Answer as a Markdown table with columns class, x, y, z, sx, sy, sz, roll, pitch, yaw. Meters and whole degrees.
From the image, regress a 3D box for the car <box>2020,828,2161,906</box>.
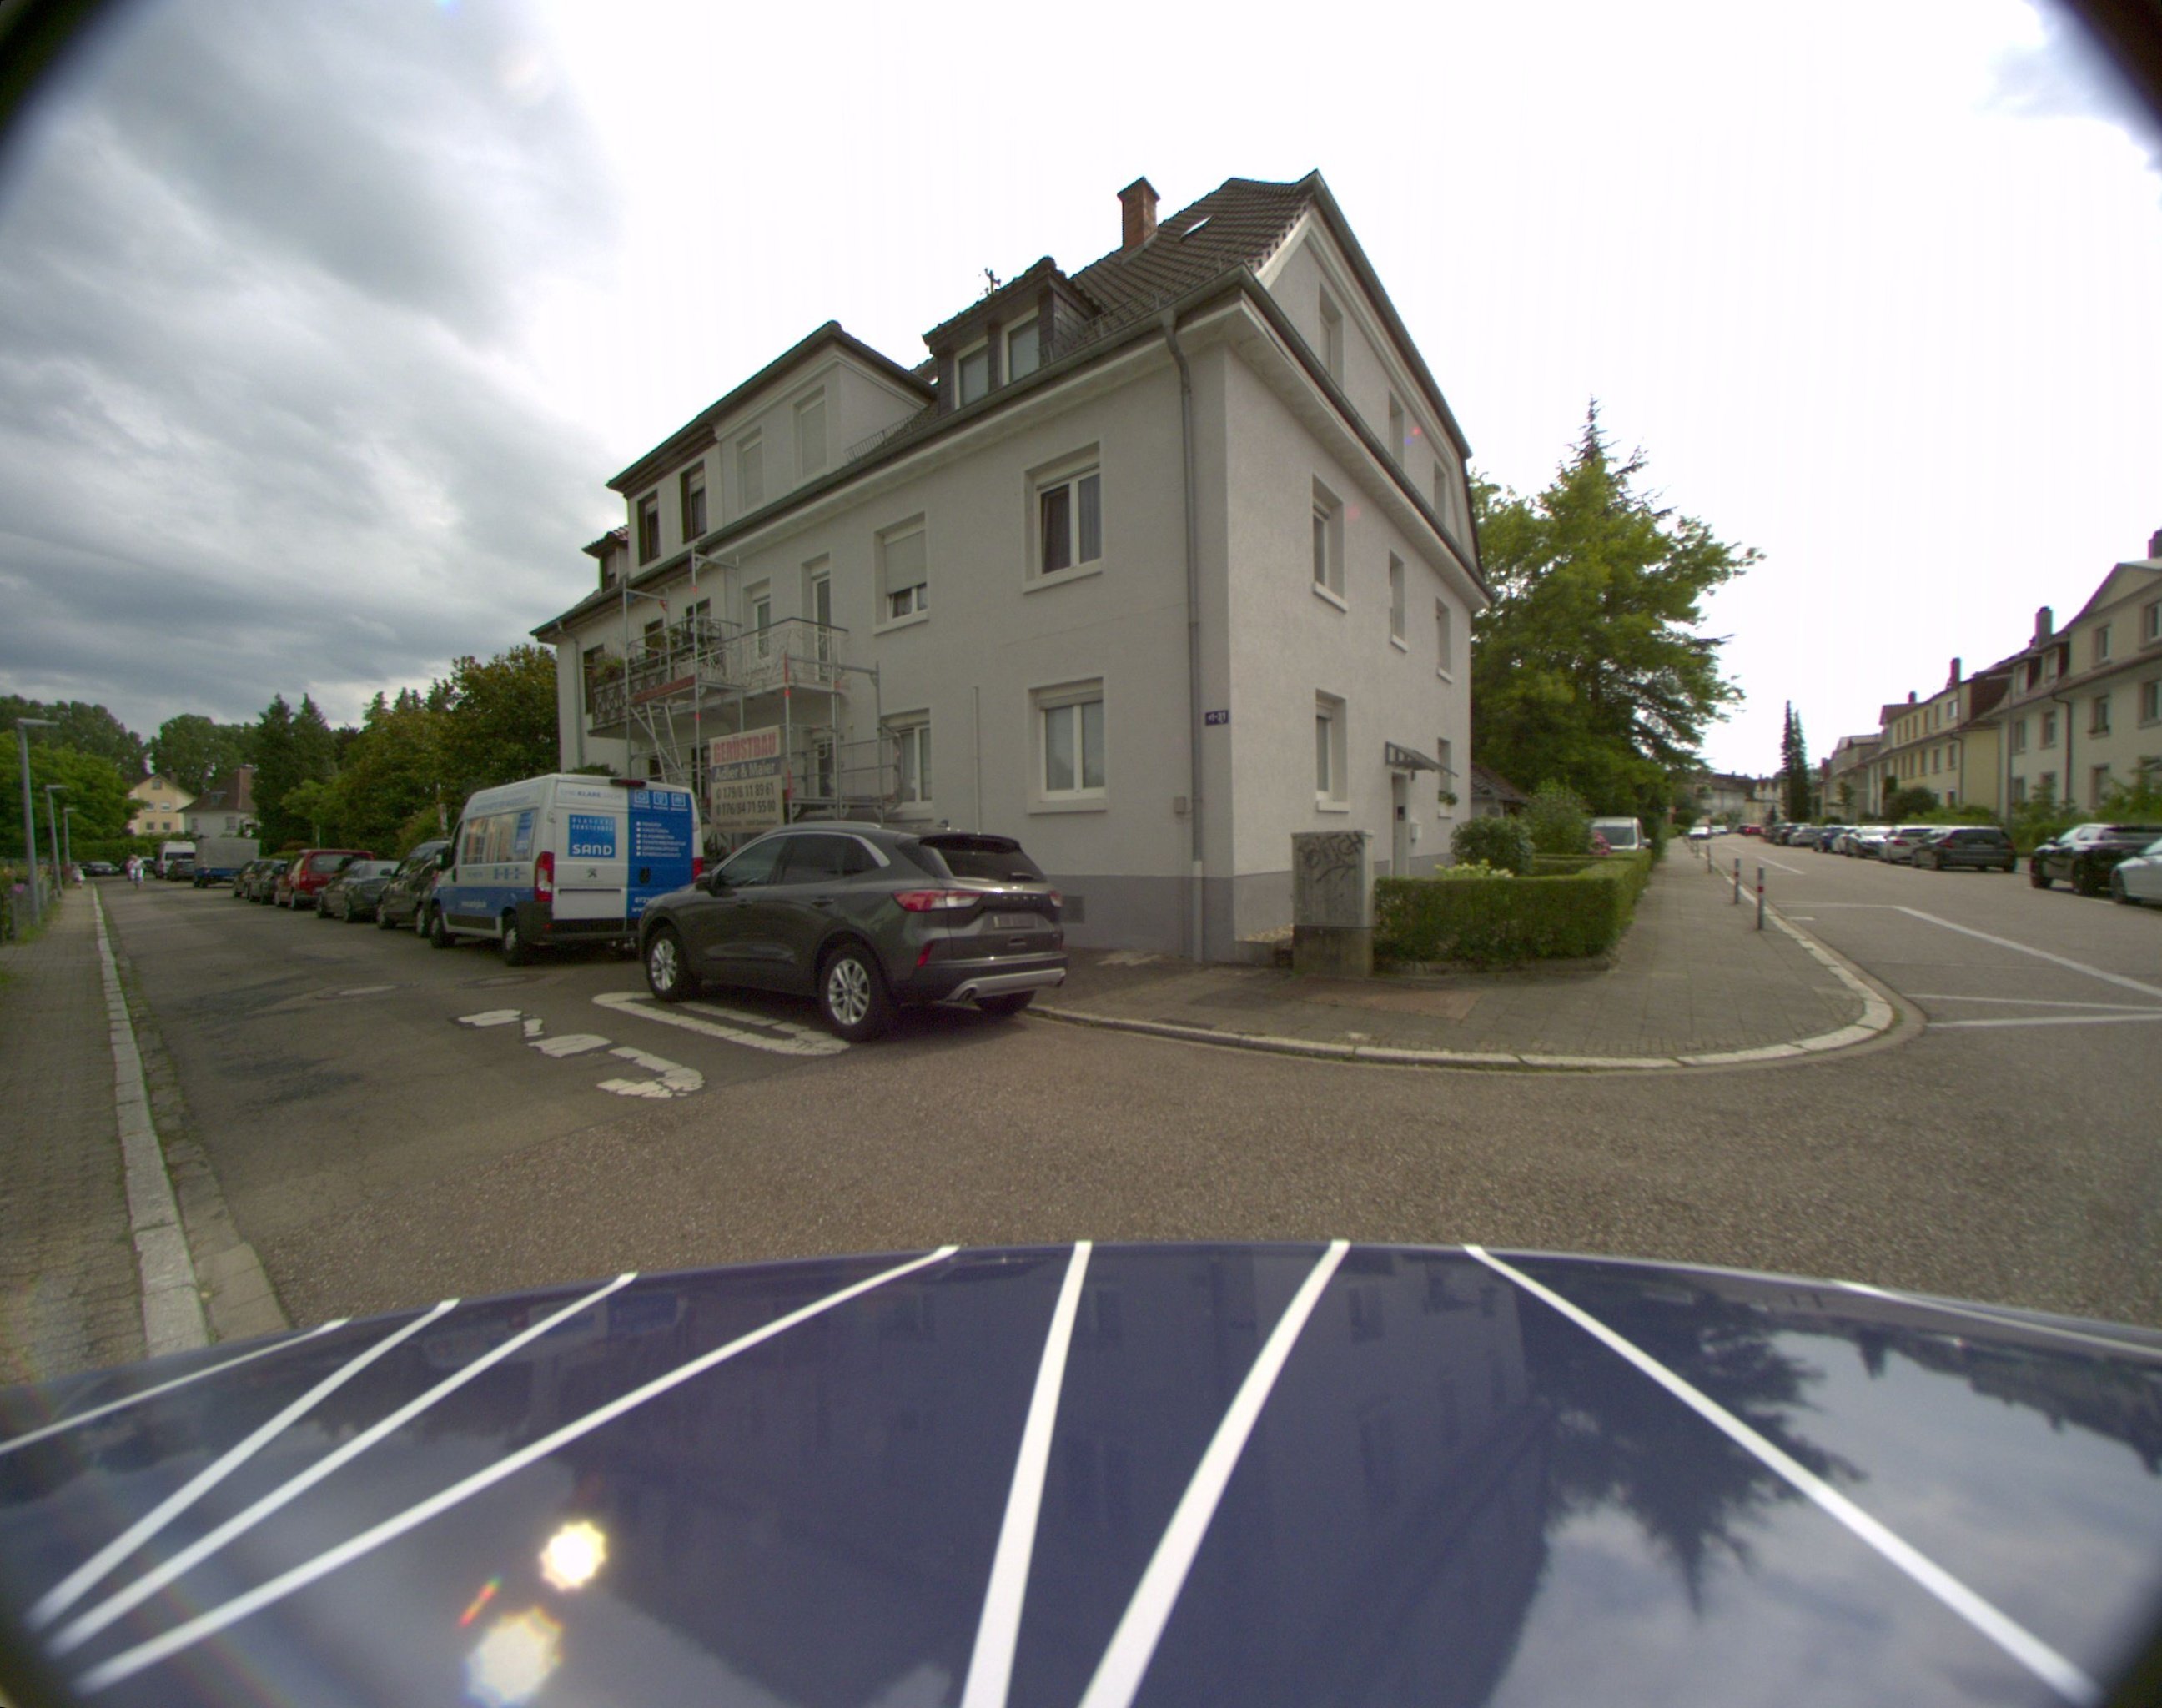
| class | x | y | z | sx | sy | sz | roll | pitch | yaw |
| --- | --- | --- | --- | --- | --- | --- | --- | --- | --- |
| car | 22.313 | 0.205 | 16.339 | 1.854 | 1.463 | 4.183 | 0 | 2 | 40 |

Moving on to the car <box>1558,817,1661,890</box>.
| class | x | y | z | sx | sy | sz | roll | pitch | yaw |
| --- | --- | --- | --- | --- | --- | --- | --- | --- | --- |
| car | 14.765 | -0.084 | 21.133 | 1.994 | 1.827 | 4.008 | 0 | 2 | 40 |

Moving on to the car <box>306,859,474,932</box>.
| class | x | y | z | sx | sy | sz | roll | pitch | yaw |
| --- | --- | --- | --- | --- | --- | --- | --- | --- | --- |
| car | -16.405 | 0.884 | 17.986 | 4.329 | 1.447 | 2.004 | 0 | 2 | 35 |

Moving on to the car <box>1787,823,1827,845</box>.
| class | x | y | z | sx | sy | sz | roll | pitch | yaw |
| --- | --- | --- | --- | --- | --- | --- | --- | --- | --- |
| car | 54.397 | -1.546 | 57.012 | 1.854 | 1.569 | 4.183 | 0 | 2 | 40 |

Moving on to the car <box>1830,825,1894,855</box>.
| class | x | y | z | sx | sy | sz | roll | pitch | yaw |
| --- | --- | --- | --- | --- | --- | --- | --- | --- | --- |
| car | 40.571 | -0.762 | 39.539 | 1.854 | 1.463 | 4.183 | 0 | 2 | 40 |

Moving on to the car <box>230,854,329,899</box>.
| class | x | y | z | sx | sy | sz | roll | pitch | yaw |
| --- | --- | --- | --- | --- | --- | --- | --- | --- | --- |
| car | -31.195 | 0.813 | 29.536 | 4.329 | 1.582 | 2.004 | 0 | 2 | 35 |

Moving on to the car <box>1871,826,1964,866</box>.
| class | x | y | z | sx | sy | sz | roll | pitch | yaw |
| --- | --- | --- | --- | --- | --- | --- | --- | --- | --- |
| car | 32.855 | -0.356 | 29.959 | 1.854 | 1.463 | 4.183 | 0 | 2 | 40 |

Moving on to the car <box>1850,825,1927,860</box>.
| class | x | y | z | sx | sy | sz | roll | pitch | yaw |
| --- | --- | --- | --- | --- | --- | --- | --- | --- | --- |
| car | 36.446 | -0.545 | 34.386 | 1.854 | 1.463 | 4.183 | 0 | 2 | 40 |

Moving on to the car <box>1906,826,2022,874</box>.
| class | x | y | z | sx | sy | sz | roll | pitch | yaw |
| --- | --- | --- | --- | --- | --- | --- | --- | --- | --- |
| car | 29.650 | -0.184 | 25.657 | 1.854 | 1.463 | 4.183 | 0 | 2 | 40 |

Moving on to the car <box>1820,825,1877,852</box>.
| class | x | y | z | sx | sy | sz | roll | pitch | yaw |
| --- | --- | --- | --- | --- | --- | --- | --- | --- | --- |
| car | 43.296 | -0.906 | 42.956 | 1.854 | 1.463 | 4.183 | 0 | 2 | 40 |

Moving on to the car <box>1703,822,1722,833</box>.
| class | x | y | z | sx | sy | sz | roll | pitch | yaw |
| --- | --- | --- | --- | --- | --- | --- | --- | --- | --- |
| car | 94.242 | -3.996 | 113.388 | 1.994 | 1.631 | 4.008 | 1 | 2 | 42 |

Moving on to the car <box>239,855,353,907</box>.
| class | x | y | z | sx | sy | sz | roll | pitch | yaw |
| --- | --- | --- | --- | --- | --- | --- | --- | --- | --- |
| car | -26.851 | 0.846 | 25.957 | 4.329 | 1.582 | 2.004 | 0 | 2 | 35 |

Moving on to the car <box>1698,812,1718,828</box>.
| class | x | y | z | sx | sy | sz | roll | pitch | yaw |
| --- | --- | --- | --- | --- | --- | --- | --- | --- | --- |
| car | 83.154 | -4.518 | 100.697 | 1.994 | 2.002 | 4.008 | 1 | 2 | 40 |

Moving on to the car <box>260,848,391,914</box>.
| class | x | y | z | sx | sy | sz | roll | pitch | yaw |
| --- | --- | --- | --- | --- | --- | --- | --- | --- | --- |
| car | -22.678 | 0.735 | 22.765 | 4.329 | 1.740 | 2.004 | 0 | 2 | 35 |

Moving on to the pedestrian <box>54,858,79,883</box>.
| class | x | y | z | sx | sy | sz | roll | pitch | yaw |
| --- | --- | --- | --- | --- | --- | --- | --- | --- | --- |
| pedestrian | -53.891 | 0.876 | 40.359 | 0.752 | 1.317 | 0.665 | 0 | 2 | 31 |

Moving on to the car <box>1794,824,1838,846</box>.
| class | x | y | z | sx | sy | sz | roll | pitch | yaw |
| --- | --- | --- | --- | --- | --- | --- | --- | --- | --- |
| car | 51.138 | -1.322 | 52.937 | 1.854 | 1.463 | 4.183 | 0 | 2 | 40 |

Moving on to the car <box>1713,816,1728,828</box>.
| class | x | y | z | sx | sy | sz | roll | pitch | yaw |
| --- | --- | --- | --- | --- | --- | --- | --- | --- | --- |
| car | 123.404 | -6.181 | 146.656 | 1.994 | 2.112 | 4.008 | 1 | 2 | 42 |

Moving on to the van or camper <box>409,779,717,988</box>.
| class | x | y | z | sx | sy | sz | roll | pitch | yaw |
| --- | --- | --- | --- | --- | --- | --- | --- | --- | --- |
| van or camper | -7.792 | 0.308 | 11.242 | 5.039 | 2.445 | 2.203 | 0 | 2 | 37 |

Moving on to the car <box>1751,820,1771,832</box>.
| class | x | y | z | sx | sy | sz | roll | pitch | yaw |
| --- | --- | --- | --- | --- | --- | --- | --- | --- | --- |
| car | 91.866 | -3.812 | 102.723 | 1.854 | 1.569 | 4.183 | 0 | 2 | 40 |

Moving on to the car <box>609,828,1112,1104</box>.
| class | x | y | z | sx | sy | sz | roll | pitch | yaw |
| --- | --- | --- | --- | --- | --- | --- | --- | --- | --- |
| car | -2.103 | 0.669 | 6.784 | 4.329 | 1.717 | 2.004 | 0 | 2 | 35 |

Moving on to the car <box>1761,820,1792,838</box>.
| class | x | y | z | sx | sy | sz | roll | pitch | yaw |
| --- | --- | --- | --- | --- | --- | --- | --- | --- | --- |
| car | 66.081 | -2.378 | 72.198 | 1.854 | 1.569 | 4.183 | 0 | 2 | 38 |

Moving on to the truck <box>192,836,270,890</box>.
| class | x | y | z | sx | sy | sz | roll | pitch | yaw |
| --- | --- | --- | --- | --- | --- | --- | --- | --- | --- |
| truck | -44.490 | 0.409 | 39.755 | 4.571 | 2.642 | 2.141 | 0 | 2 | 36 |

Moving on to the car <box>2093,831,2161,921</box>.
| class | x | y | z | sx | sy | sz | roll | pitch | yaw |
| --- | --- | --- | --- | --- | --- | --- | --- | --- | --- |
| car | 19.206 | 0.366 | 12.666 | 1.854 | 1.463 | 4.183 | 0 | 2 | 40 |

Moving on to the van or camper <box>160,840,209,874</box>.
| class | x | y | z | sx | sy | sz | roll | pitch | yaw |
| --- | --- | --- | --- | --- | --- | --- | --- | --- | --- |
| van or camper | -70.307 | 0.175 | 59.561 | 5.000 | 2.527 | 2.152 | 0 | 2 | 38 |

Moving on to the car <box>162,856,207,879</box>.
| class | x | y | z | sx | sy | sz | roll | pitch | yaw |
| --- | --- | --- | --- | --- | --- | --- | --- | --- | --- |
| car | -60.712 | 0.884 | 51.445 | 3.988 | 1.368 | 1.830 | 0 | 2 | 39 |

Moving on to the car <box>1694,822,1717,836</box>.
| class | x | y | z | sx | sy | sz | roll | pitch | yaw |
| --- | --- | --- | --- | --- | --- | --- | --- | --- | --- |
| car | 74.935 | -2.957 | 91.192 | 1.994 | 1.631 | 4.008 | 1 | 2 | 42 |

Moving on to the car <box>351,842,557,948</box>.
| class | x | y | z | sx | sy | sz | roll | pitch | yaw |
| --- | --- | --- | --- | --- | --- | --- | --- | --- | --- |
| car | -12.386 | 0.675 | 14.932 | 4.329 | 1.762 | 2.004 | 0 | 2 | 35 |

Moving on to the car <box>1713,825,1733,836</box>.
| class | x | y | z | sx | sy | sz | roll | pitch | yaw |
| --- | --- | --- | --- | --- | --- | --- | --- | --- | --- |
| car | 104.011 | -3.801 | 123.029 | 4.007 | 1.527 | 1.994 | -3 | 1 | -43 |
